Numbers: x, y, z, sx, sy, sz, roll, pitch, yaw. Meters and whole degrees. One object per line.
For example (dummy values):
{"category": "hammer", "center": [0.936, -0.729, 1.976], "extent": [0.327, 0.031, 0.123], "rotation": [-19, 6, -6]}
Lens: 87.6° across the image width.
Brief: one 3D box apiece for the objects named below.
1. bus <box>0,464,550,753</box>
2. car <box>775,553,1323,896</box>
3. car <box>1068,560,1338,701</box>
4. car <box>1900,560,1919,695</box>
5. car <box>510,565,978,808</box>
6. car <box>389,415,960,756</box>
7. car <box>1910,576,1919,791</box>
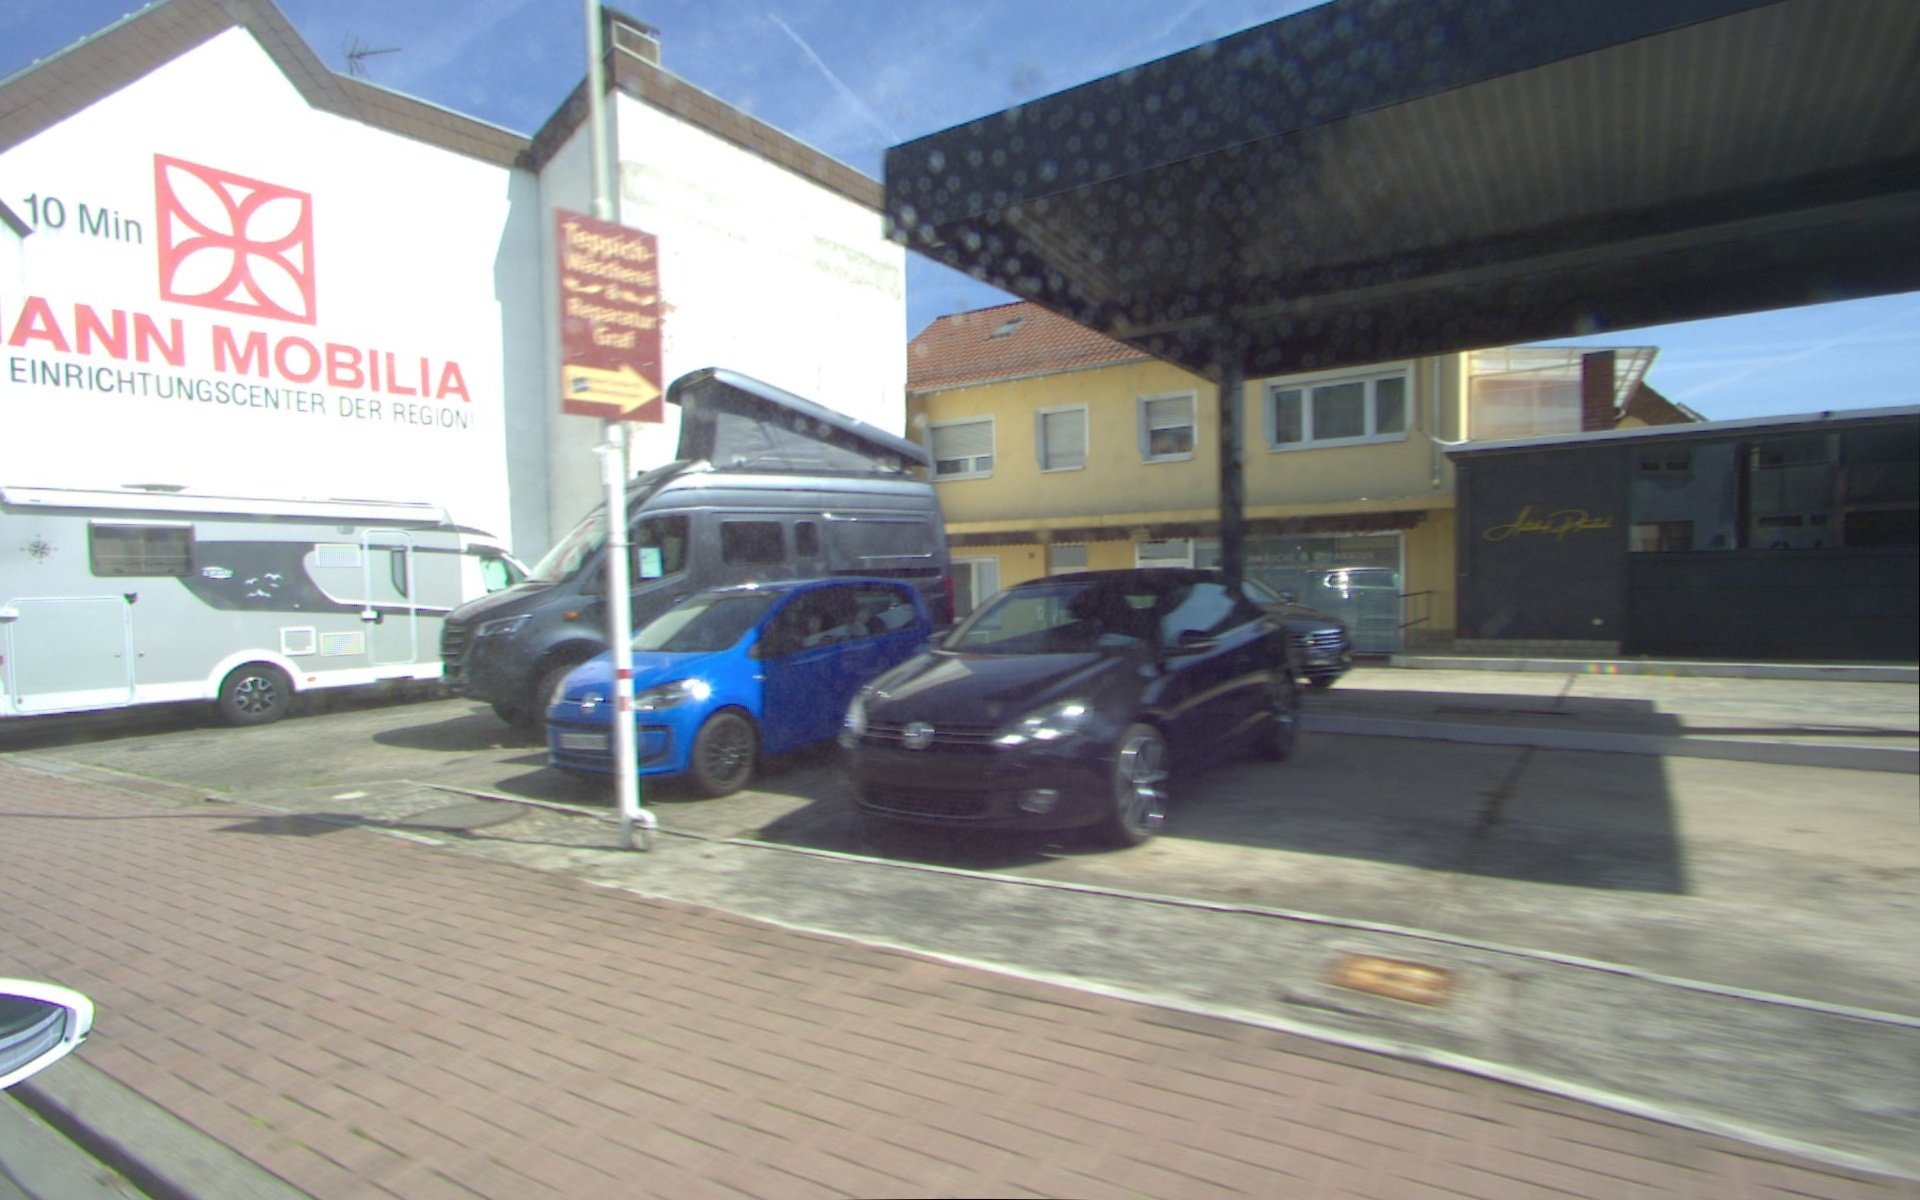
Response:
{"category": "bus", "center": [-9.048, 0.009, 13.115], "extent": [2.200, 2.944, 6.542], "rotation": [-1, 1, 35]}
{"category": "car", "center": [0.915, 0.506, 6.556], "extent": [1.705, 1.501, 4.146], "rotation": [0, 1, 36]}
{"category": "car", "center": [2.956, 0.334, 13.070], "extent": [1.696, 1.545, 3.863], "rotation": [0, 0, -17]}
{"category": "car", "center": [11.587, 0.254, 8.704], "extent": [4.678, 1.365, 1.755], "rotation": [-1, 1, 30]}
{"category": "car", "center": [-1.542, 0.516, 8.390], "extent": [1.561, 1.549, 3.788], "rotation": [0, 1, 34]}
{"category": "car", "center": [-3.042, -0.191, 11.639], "extent": [5.907, 3.027, 2.299], "rotation": [-2, 2, -38]}
{"category": "car", "center": [5.373, 0.523, 3.797], "extent": [1.940, 1.284, 4.523], "rotation": [-1, 1, 36]}
